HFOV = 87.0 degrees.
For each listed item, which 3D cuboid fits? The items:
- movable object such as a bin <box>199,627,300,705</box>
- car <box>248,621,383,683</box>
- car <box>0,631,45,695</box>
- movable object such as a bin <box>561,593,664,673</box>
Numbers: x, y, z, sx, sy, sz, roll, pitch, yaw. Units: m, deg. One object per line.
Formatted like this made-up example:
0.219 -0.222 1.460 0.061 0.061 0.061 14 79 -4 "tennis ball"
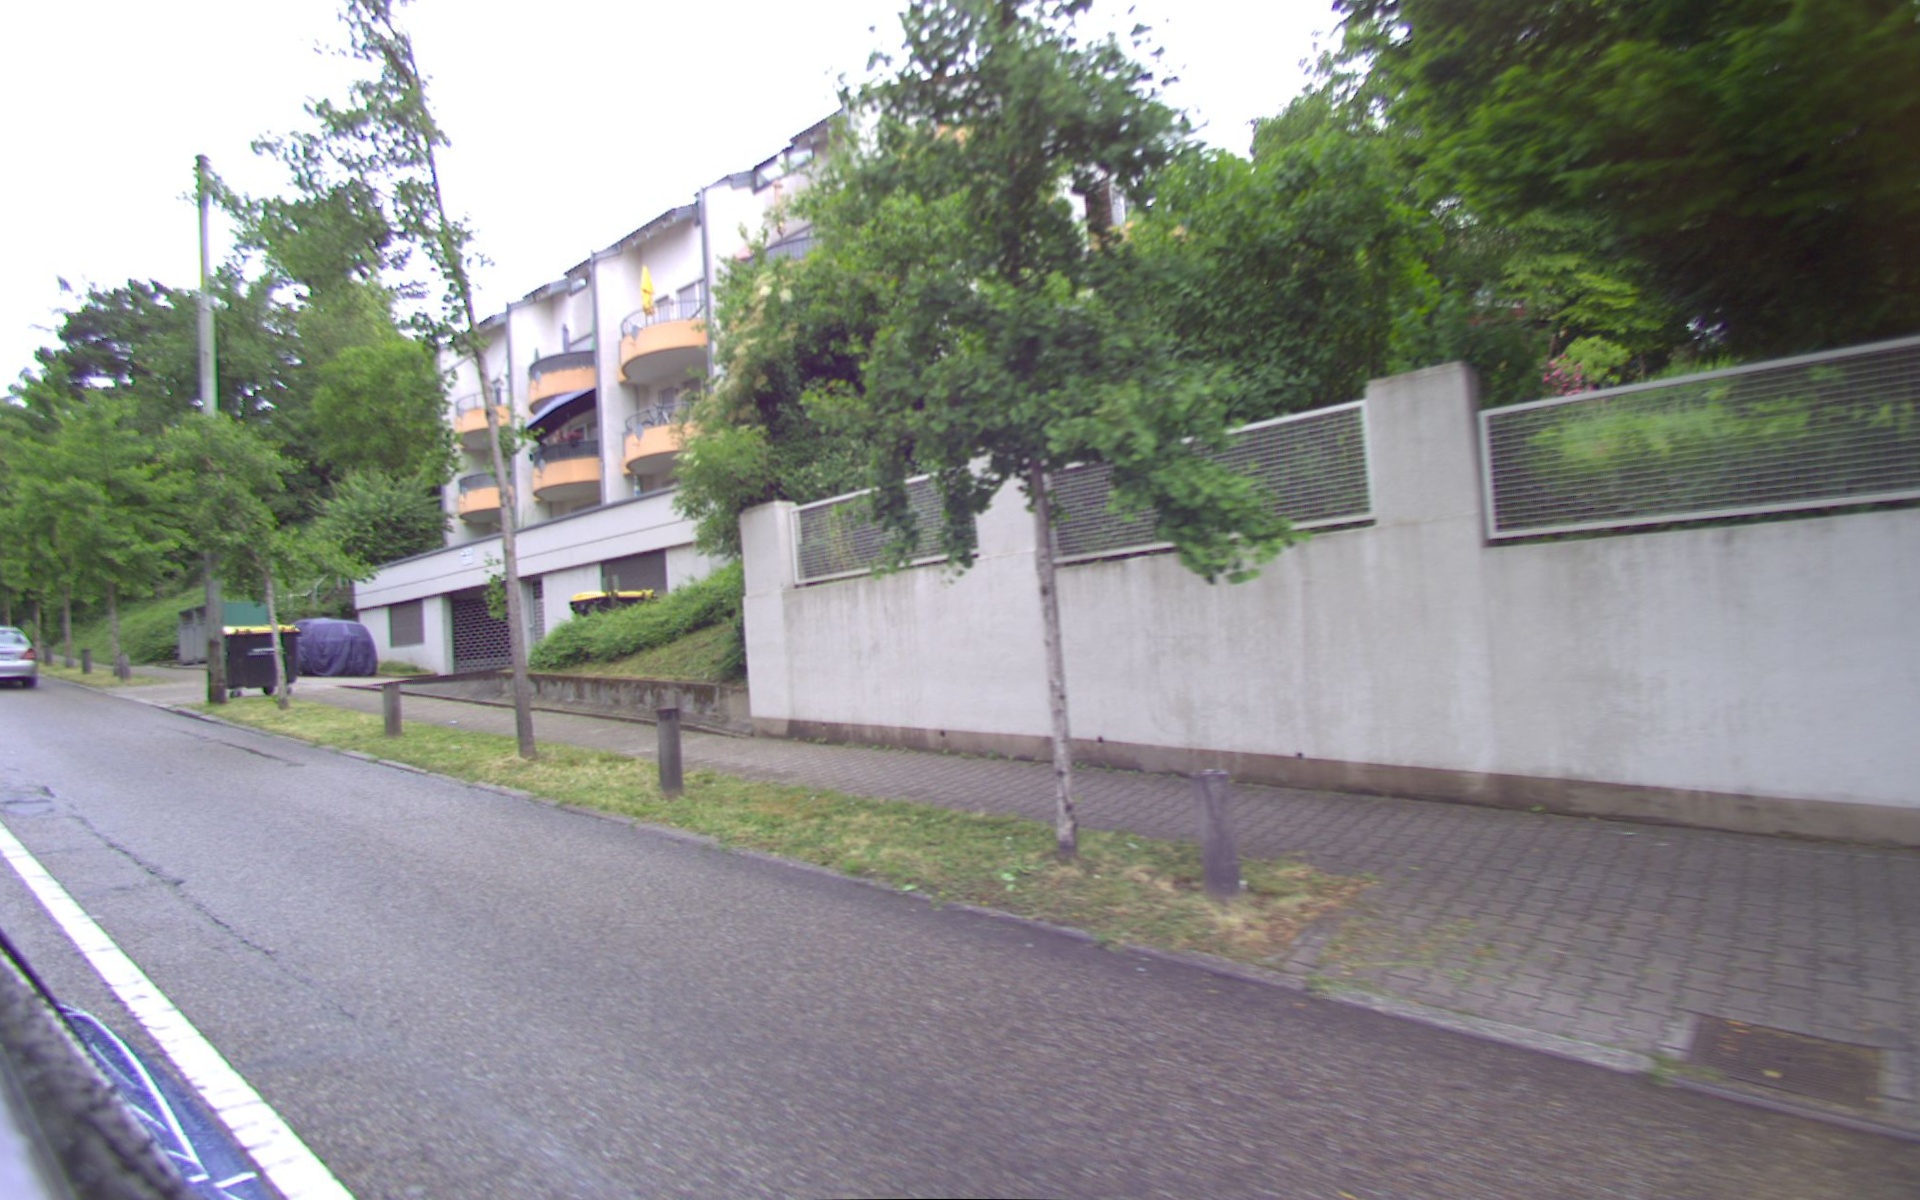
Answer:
-13.148 1.195 18.745 1.120 1.360 1.213 -1 -1 33 "movable object such as a bin"
-17.197 1.387 26.952 3.862 1.503 1.832 -2 -6 40 "car"
-22.665 1.401 23.398 4.283 1.395 1.701 -2 -4 41 "car"
-6.220 0.581 18.165 1.159 1.325 1.252 -5 -3 33 "movable object such as a bin"
